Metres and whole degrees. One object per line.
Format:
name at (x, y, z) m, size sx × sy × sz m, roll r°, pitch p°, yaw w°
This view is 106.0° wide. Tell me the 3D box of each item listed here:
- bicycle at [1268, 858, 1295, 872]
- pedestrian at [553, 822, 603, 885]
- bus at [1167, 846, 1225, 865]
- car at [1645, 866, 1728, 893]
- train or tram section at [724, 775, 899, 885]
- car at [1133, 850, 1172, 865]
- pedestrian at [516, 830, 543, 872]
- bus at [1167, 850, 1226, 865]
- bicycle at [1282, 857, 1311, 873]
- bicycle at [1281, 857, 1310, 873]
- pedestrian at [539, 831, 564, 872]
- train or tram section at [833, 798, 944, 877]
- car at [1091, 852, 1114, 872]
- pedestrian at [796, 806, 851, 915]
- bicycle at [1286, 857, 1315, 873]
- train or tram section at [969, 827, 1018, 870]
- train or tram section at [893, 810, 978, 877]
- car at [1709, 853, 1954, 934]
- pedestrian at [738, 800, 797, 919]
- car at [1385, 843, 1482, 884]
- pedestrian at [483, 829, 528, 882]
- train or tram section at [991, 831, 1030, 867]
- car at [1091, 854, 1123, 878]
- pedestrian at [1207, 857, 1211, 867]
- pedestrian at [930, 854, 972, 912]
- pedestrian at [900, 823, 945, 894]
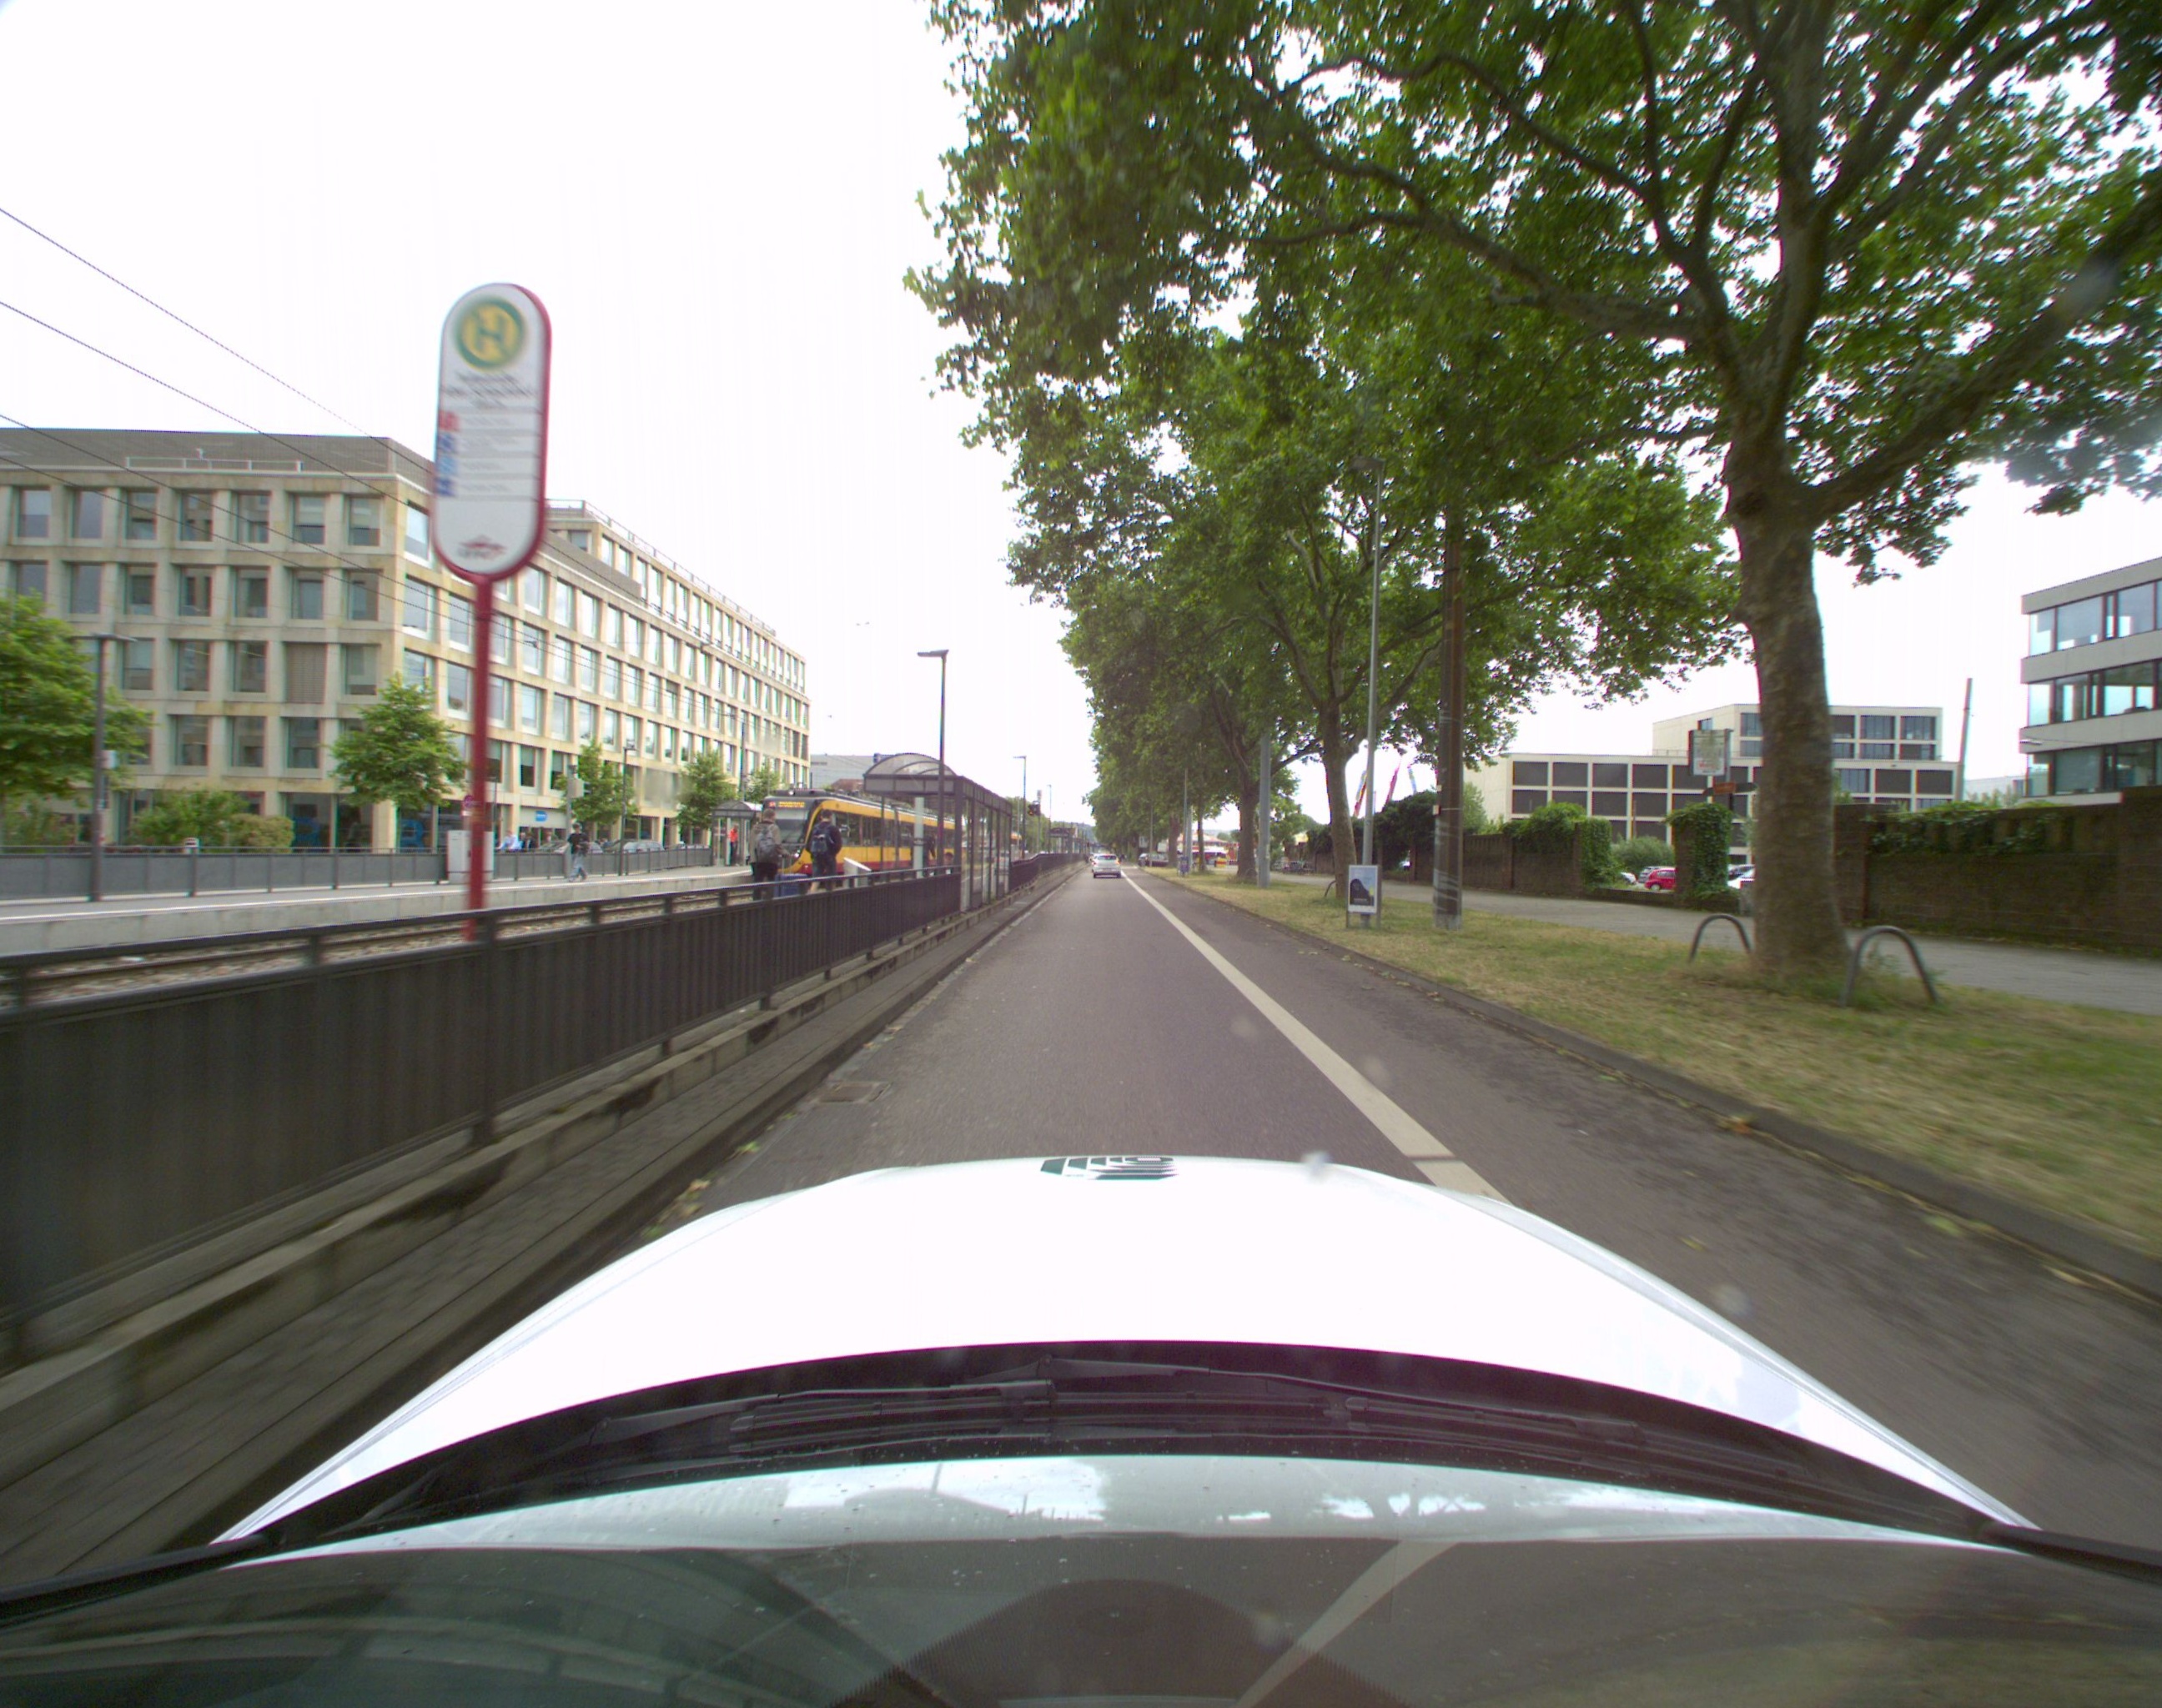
bicycle at (15.274, 0.837, 61.983) m, size 1.915 × 1.091 × 0.549 m, roll -1°, pitch -1°, yaw -1°
pedestrian at (-14.646, -0.006, 23.744) m, size 0.709 × 1.795 × 1.160 m, roll 1°, pitch -1°, yaw 0°
bus at (18.910, 0.230, 134.241) m, size 9.250 × 2.960 × 1.999 m, roll 1°, pitch -1°, yaw -2°
car at (38.927, 1.615, 52.477) m, size 3.951 × 1.596 × 2.011 m, roll 1°, pitch -1°, yaw 24°
train or tram section at (-10.783, -0.784, 34.463) m, size 3.225 × 3.862 × 11.315 m, roll 1°, pitch -1°, yaw 2°
car at (7.501, 0.373, 85.503) m, size 3.969 × 1.486 × 1.788 m, roll 0°, pitch 0°, yaw 4°
pedestrian at (-26.241, -0.140, 38.748) m, size 0.710 × 2.014 × 0.725 m, roll 1°, pitch -1°, yaw 0°
bus at (18.558, 0.583, 131.082) m, size 9.250 × 2.227 × 1.999 m, roll 1°, pitch -1°, yaw -2°
bicycle at (15.208, 0.793, 57.402) m, size 1.894 × 1.097 × 0.549 m, roll -1°, pitch -1°, yaw -1°
bicycle at (15.286, 0.796, 58.040) m, size 1.968 × 1.095 × 0.549 m, roll -1°, pitch -1°, yaw -1°
pedestrian at (-26.232, -0.123, 40.360) m, size 0.710 × 2.014 × 0.725 m, roll 1°, pitch -1°, yaw 0°
train or tram section at (-10.440, -0.748, 45.813) m, size 3.151 × 3.862 × 11.315 m, roll 1°, pitch -1°, yaw 2°
car at (1.835, 0.639, 67.648) m, size 1.833 × 1.552 × 4.003 m, roll 0°, pitch 0°, yaw 3°
pedestrian at (-4.393, 0.112, 13.943) m, size 0.669 × 1.793 × 1.110 m, roll 1°, pitch -1°, yaw -7°
bicycle at (15.285, 0.781, 56.824) m, size 1.884 × 1.105 × 0.549 m, roll -1°, pitch -1°, yaw -1°
train or tram section at (-9.181, -0.466, 87.353) m, size 3.168 × 4.179 × 14.739 m, roll 1°, pitch -1°, yaw 2°
train or tram section at (-10.054, -0.615, 58.369) m, size 3.168 × 4.179 × 13.625 m, roll 1°, pitch -1°, yaw 2°
car at (20.072, 1.037, 21.924) m, size 4.862 × 2.014 × 1.999 m, roll 1°, pitch -1°, yaw -2°
pedestrian at (-4.959, 0.094, 12.941) m, size 0.670 × 1.793 × 1.108 m, roll 1°, pitch -1°, yaw -12°
car at (21.243, 0.575, 49.171) m, size 5.081 × 2.264 × 1.665 m, roll 2°, pitch -1°, yaw -2°
pedestrian at (-22.166, 0.061, 31.389) m, size 0.930 × 2.014 × 1.032 m, roll 1°, pitch -1°, yaw 0°
train or tram section at (-8.648, -0.538, 102.145) m, size 3.168 × 4.179 × 14.739 m, roll 1°, pitch -1°, yaw 2°
car at (1.644, 0.769, 52.115) m, size 1.879 × 1.453 × 3.999 m, roll 1°, pitch -1°, yaw 0°
pedestrian at (19.597, 1.236, 124.919) m, size 0.491 × 1.463 × 0.523 m, roll 1°, pitch -1°, yaw -1°
pedestrian at (-2.976, 0.655, 18.633) m, size 0.832 × 1.303 × 0.613 m, roll 1°, pitch -1°, yaw 0°
pedestrian at (-4.563, 0.135, 23.491) m, size 1.054 × 2.014 × 0.840 m, roll 1°, pitch -1°, yaw 1°
